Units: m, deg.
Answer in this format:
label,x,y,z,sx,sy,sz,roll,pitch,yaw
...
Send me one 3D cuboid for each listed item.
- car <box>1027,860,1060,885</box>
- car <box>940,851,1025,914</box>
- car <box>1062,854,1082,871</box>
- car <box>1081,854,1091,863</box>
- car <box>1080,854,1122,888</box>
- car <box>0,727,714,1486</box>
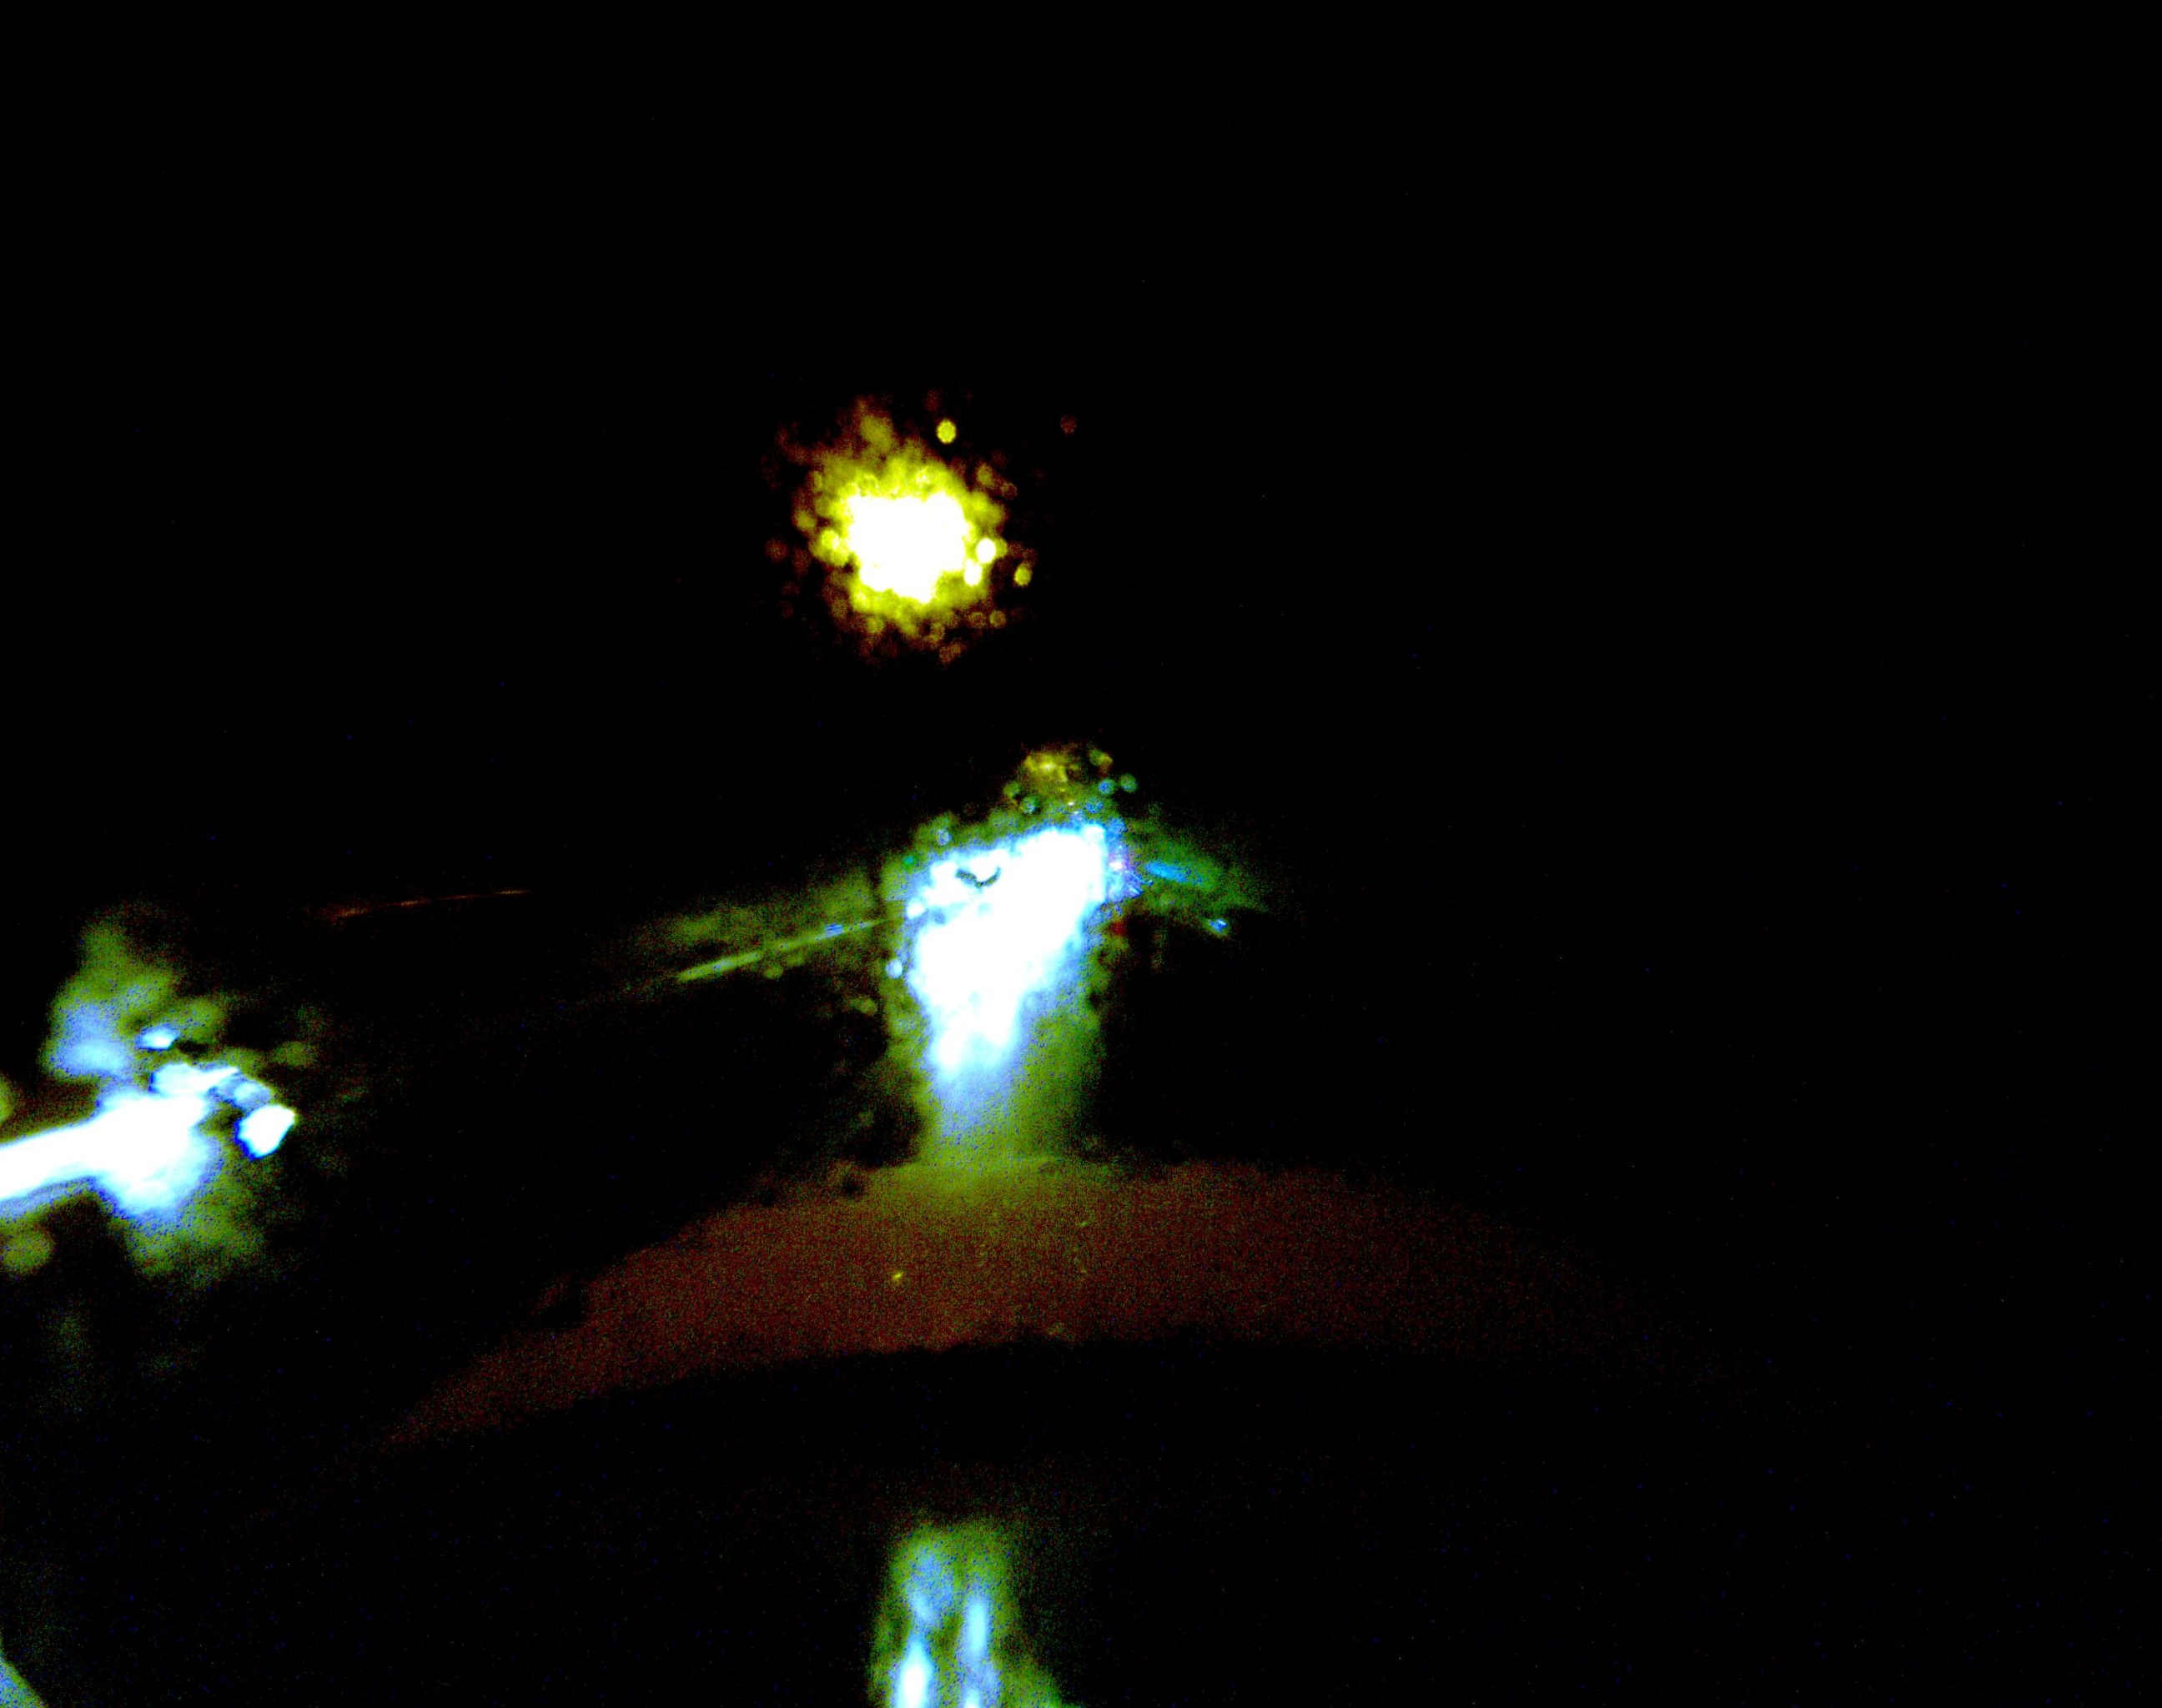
label,x,y,z,sx,sy,sz,roll,pitch,yaw
car,-2.260,1.100,49.533,1.684,1.422,3.626,-1,0,2
car,-2.594,0.717,22.261,1.694,1.555,3.874,-1,0,2
car,-0.951,0.876,86.762,1.986,1.709,4.281,0,0,1
car,1.131,0.988,174.691,1.986,2.014,4.001,-1,0,1
car,1.048,0.860,42.335,2.082,1.662,4.001,-1,0,1
car,-3.167,0.569,3.004,1.662,1.647,3.908,-3,1,2
